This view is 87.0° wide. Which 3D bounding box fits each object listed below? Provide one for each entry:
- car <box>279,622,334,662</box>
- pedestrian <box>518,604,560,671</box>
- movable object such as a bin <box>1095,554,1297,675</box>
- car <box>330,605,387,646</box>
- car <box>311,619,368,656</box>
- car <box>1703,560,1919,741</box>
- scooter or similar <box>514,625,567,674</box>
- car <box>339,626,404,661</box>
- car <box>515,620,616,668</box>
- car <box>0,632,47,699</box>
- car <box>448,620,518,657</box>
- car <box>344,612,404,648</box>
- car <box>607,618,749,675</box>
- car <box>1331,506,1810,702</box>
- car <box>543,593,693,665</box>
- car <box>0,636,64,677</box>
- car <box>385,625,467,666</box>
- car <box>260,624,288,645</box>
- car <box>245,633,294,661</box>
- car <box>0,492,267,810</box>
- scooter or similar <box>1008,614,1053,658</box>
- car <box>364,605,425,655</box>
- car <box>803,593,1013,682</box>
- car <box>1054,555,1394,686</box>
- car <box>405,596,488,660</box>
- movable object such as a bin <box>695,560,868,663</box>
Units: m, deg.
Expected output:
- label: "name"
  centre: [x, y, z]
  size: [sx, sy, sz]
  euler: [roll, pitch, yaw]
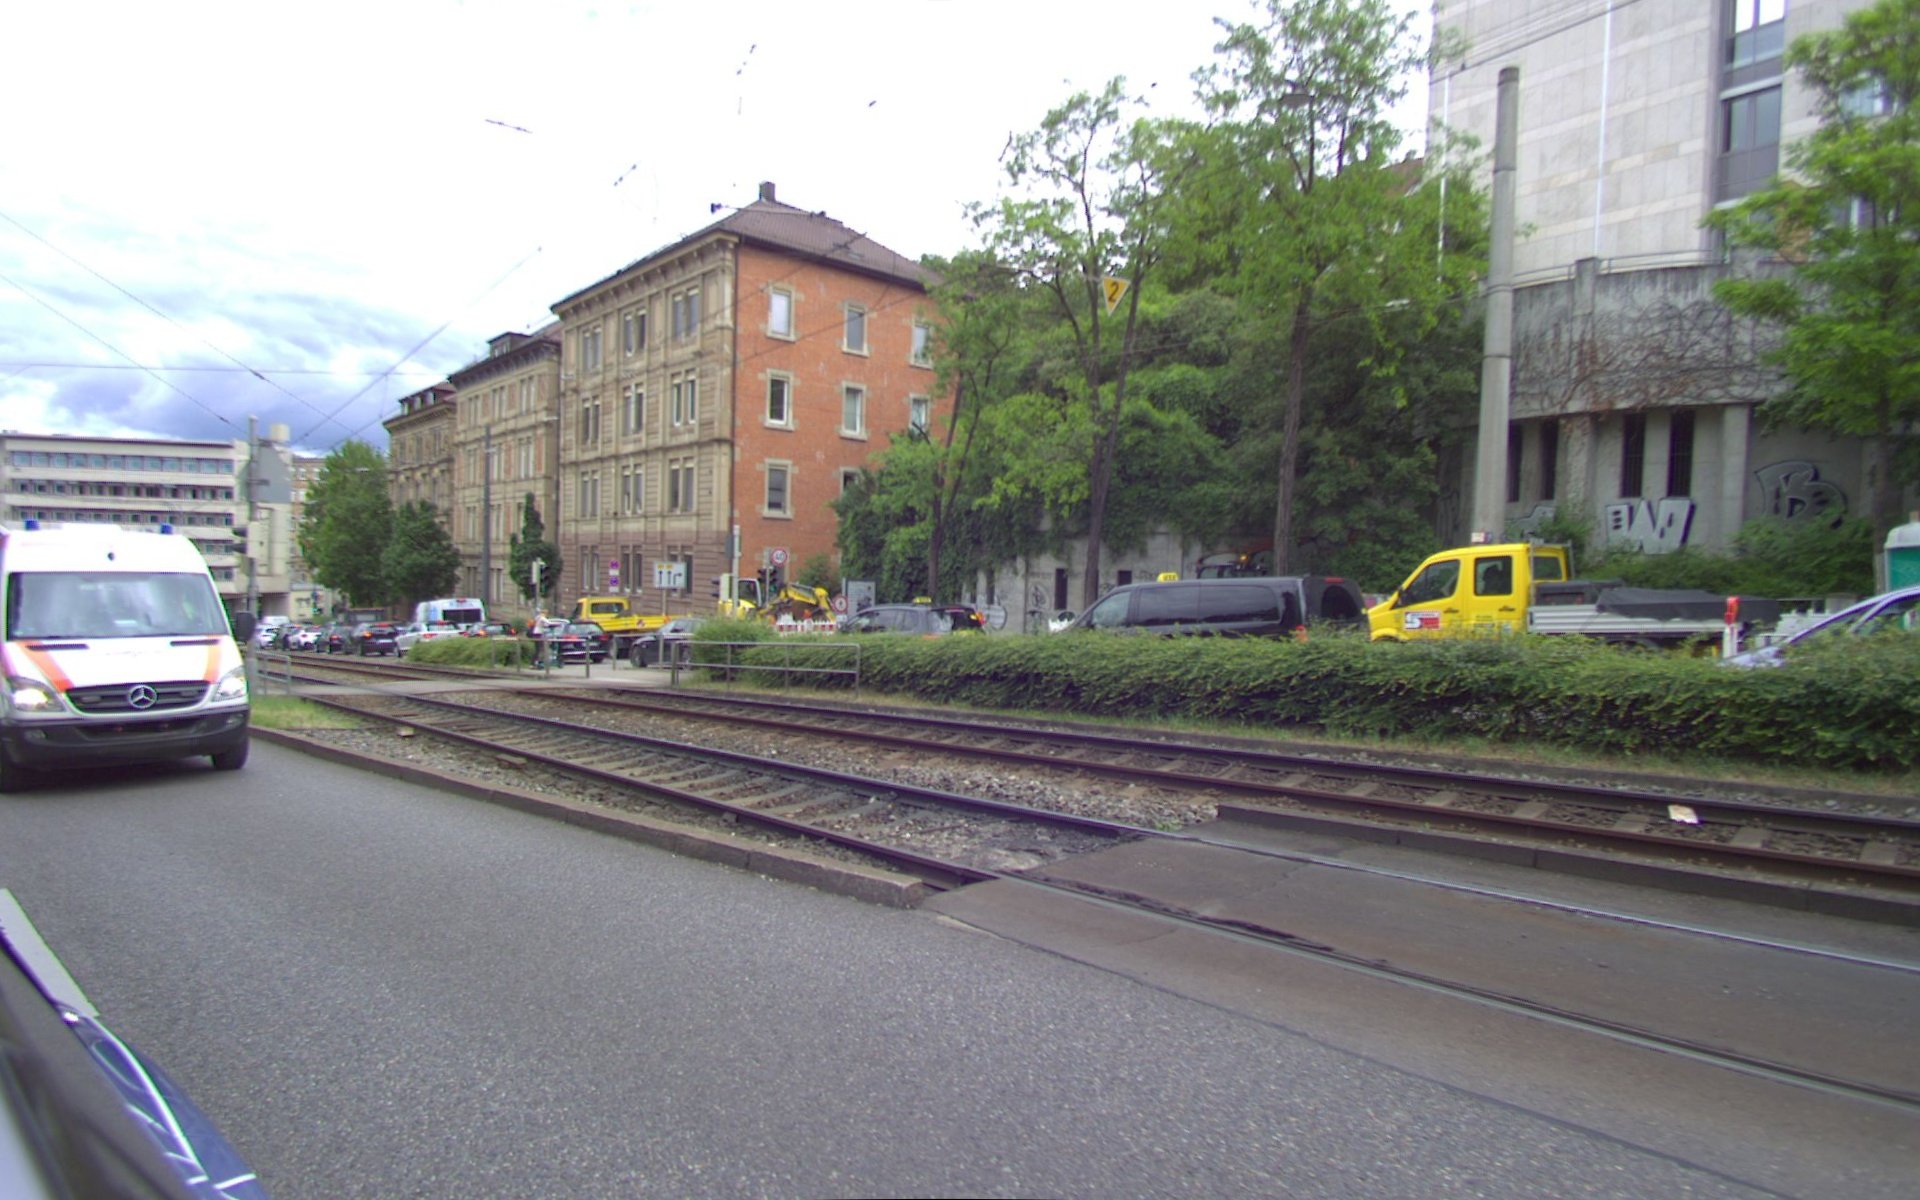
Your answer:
- label: "car"
  centre: [-35.400, 2.257, 54.750]
  size: [1.969, 2.060, 4.006]
  euler: [1, -2, -41]
- label: "pedestrian"
  centre: [-11.813, 1.060, 28.406]
  size: [0.788, 1.831, 0.735]
  euler: [-1, -3, 25]
- label: "movable object such as a bin"
  centre: [5.276, 0.340, 23.070]
  size: [1.909, 2.486, 4.105]
  euler: [-2, -1, -39]
- label: "car"
  centre: [-34.986, 1.484, 58.857]
  size: [2.208, 2.305, 4.006]
  euler: [1, -2, -41]
- label: "car"
  centre: [-30.924, 1.866, 50.363]
  size: [1.813, 1.763, 4.006]
  euler: [1, -2, -41]
- label: "car"
  centre: [8.605, 0.398, 8.270]
  size: [1.637, 1.454, 3.748]
  euler: [1, -2, -36]
- label: "scooter or similar"
  centre: [-11.621, 1.352, 28.079]
  size: [0.528, 1.306, 1.490]
  euler: [-1, -2, 17]
- label: "car"
  centre: [-26.889, 1.968, 46.199]
  size: [1.844, 1.531, 3.955]
  euler: [1, -2, -41]
- label: "car"
  centre: [-13.162, 1.439, 33.659]
  size: [1.758, 1.473, 4.003]
  euler: [1, -2, -44]
- label: "car"
  centre: [-24.702, 1.661, 25.849]
  size: [1.902, 1.584, 4.187]
  euler: [-2, 0, -41]
- label: "car"
  centre: [-20.530, 1.648, 43.498]
  size: [1.625, 1.465, 3.567]
  euler: [0, -2, -45]
- label: "car"
  centre: [-32.510, 1.661, 56.131]
  size: [2.286, 1.954, 3.441]
  euler: [1, -2, -41]
- label: "car"
  centre: [-7.978, 1.268, 28.360]
  size: [1.859, 1.446, 4.850]
  euler: [3, -3, -42]
- label: "car"
  centre: [9.602, 0.144, 16.636]
  size: [2.129, 2.613, 6.348]
  euler: [1, -2, -39]
- label: "car"
  centre: [-12.855, 1.052, 37.726]
  size: [6.755, 2.454, 2.413]
  euler: [-2, -1, 44]
- label: "car"
  centre: [-38.332, 2.273, 41.623]
  size: [1.971, 1.564, 4.319]
  euler: [1, -2, -45]
- label: "car"
  centre: [-21.504, 1.799, 40.686]
  size: [4.000, 1.579, 1.684]
  euler: [-2, -2, 43]
- label: "car"
  centre: [-61.953, 3.121, 91.415]
  size: [1.675, 1.824, 4.006]
  euler: [0, -1, -40]
- label: "car"
  centre: [-44.298, 2.989, 64.875]
  size: [1.970, 1.630, 4.003]
  euler: [0, -1, -44]
- label: "car"
  centre: [-9.731, 0.509, 11.332]
  size: [5.854, 2.720, 2.011]
  euler: [-2, -1, 43]
- label: "scooter or similar"
  centre: [2.101, 1.074, 30.317]
  size: [1.290, 1.299, 0.423]
  euler: [-3, -3, 37]
- label: "car"
  centre: [-29.040, 1.532, 51.956]
  size: [1.969, 2.494, 4.006]
  euler: [1, -2, -41]
- label: "car"
  centre: [-1.191, 0.753, 20.898]
  size: [1.968, 1.617, 4.627]
  euler: [1, -2, -39]
- label: "car"
  centre: [3.674, 0.321, 14.904]
  size: [1.967, 1.617, 4.619]
  euler: [1, -2, -37]
- label: "car"
  centre: [-24.044, 1.309, 47.333]
  size: [2.183, 2.844, 4.788]
  euler: [1, -2, -43]
- label: "movable object such as a bin"
  centre: [-6.803, 0.513, 38.156]
  size: [6.537, 3.575, 2.721]
  euler: [-2, -2, 37]
